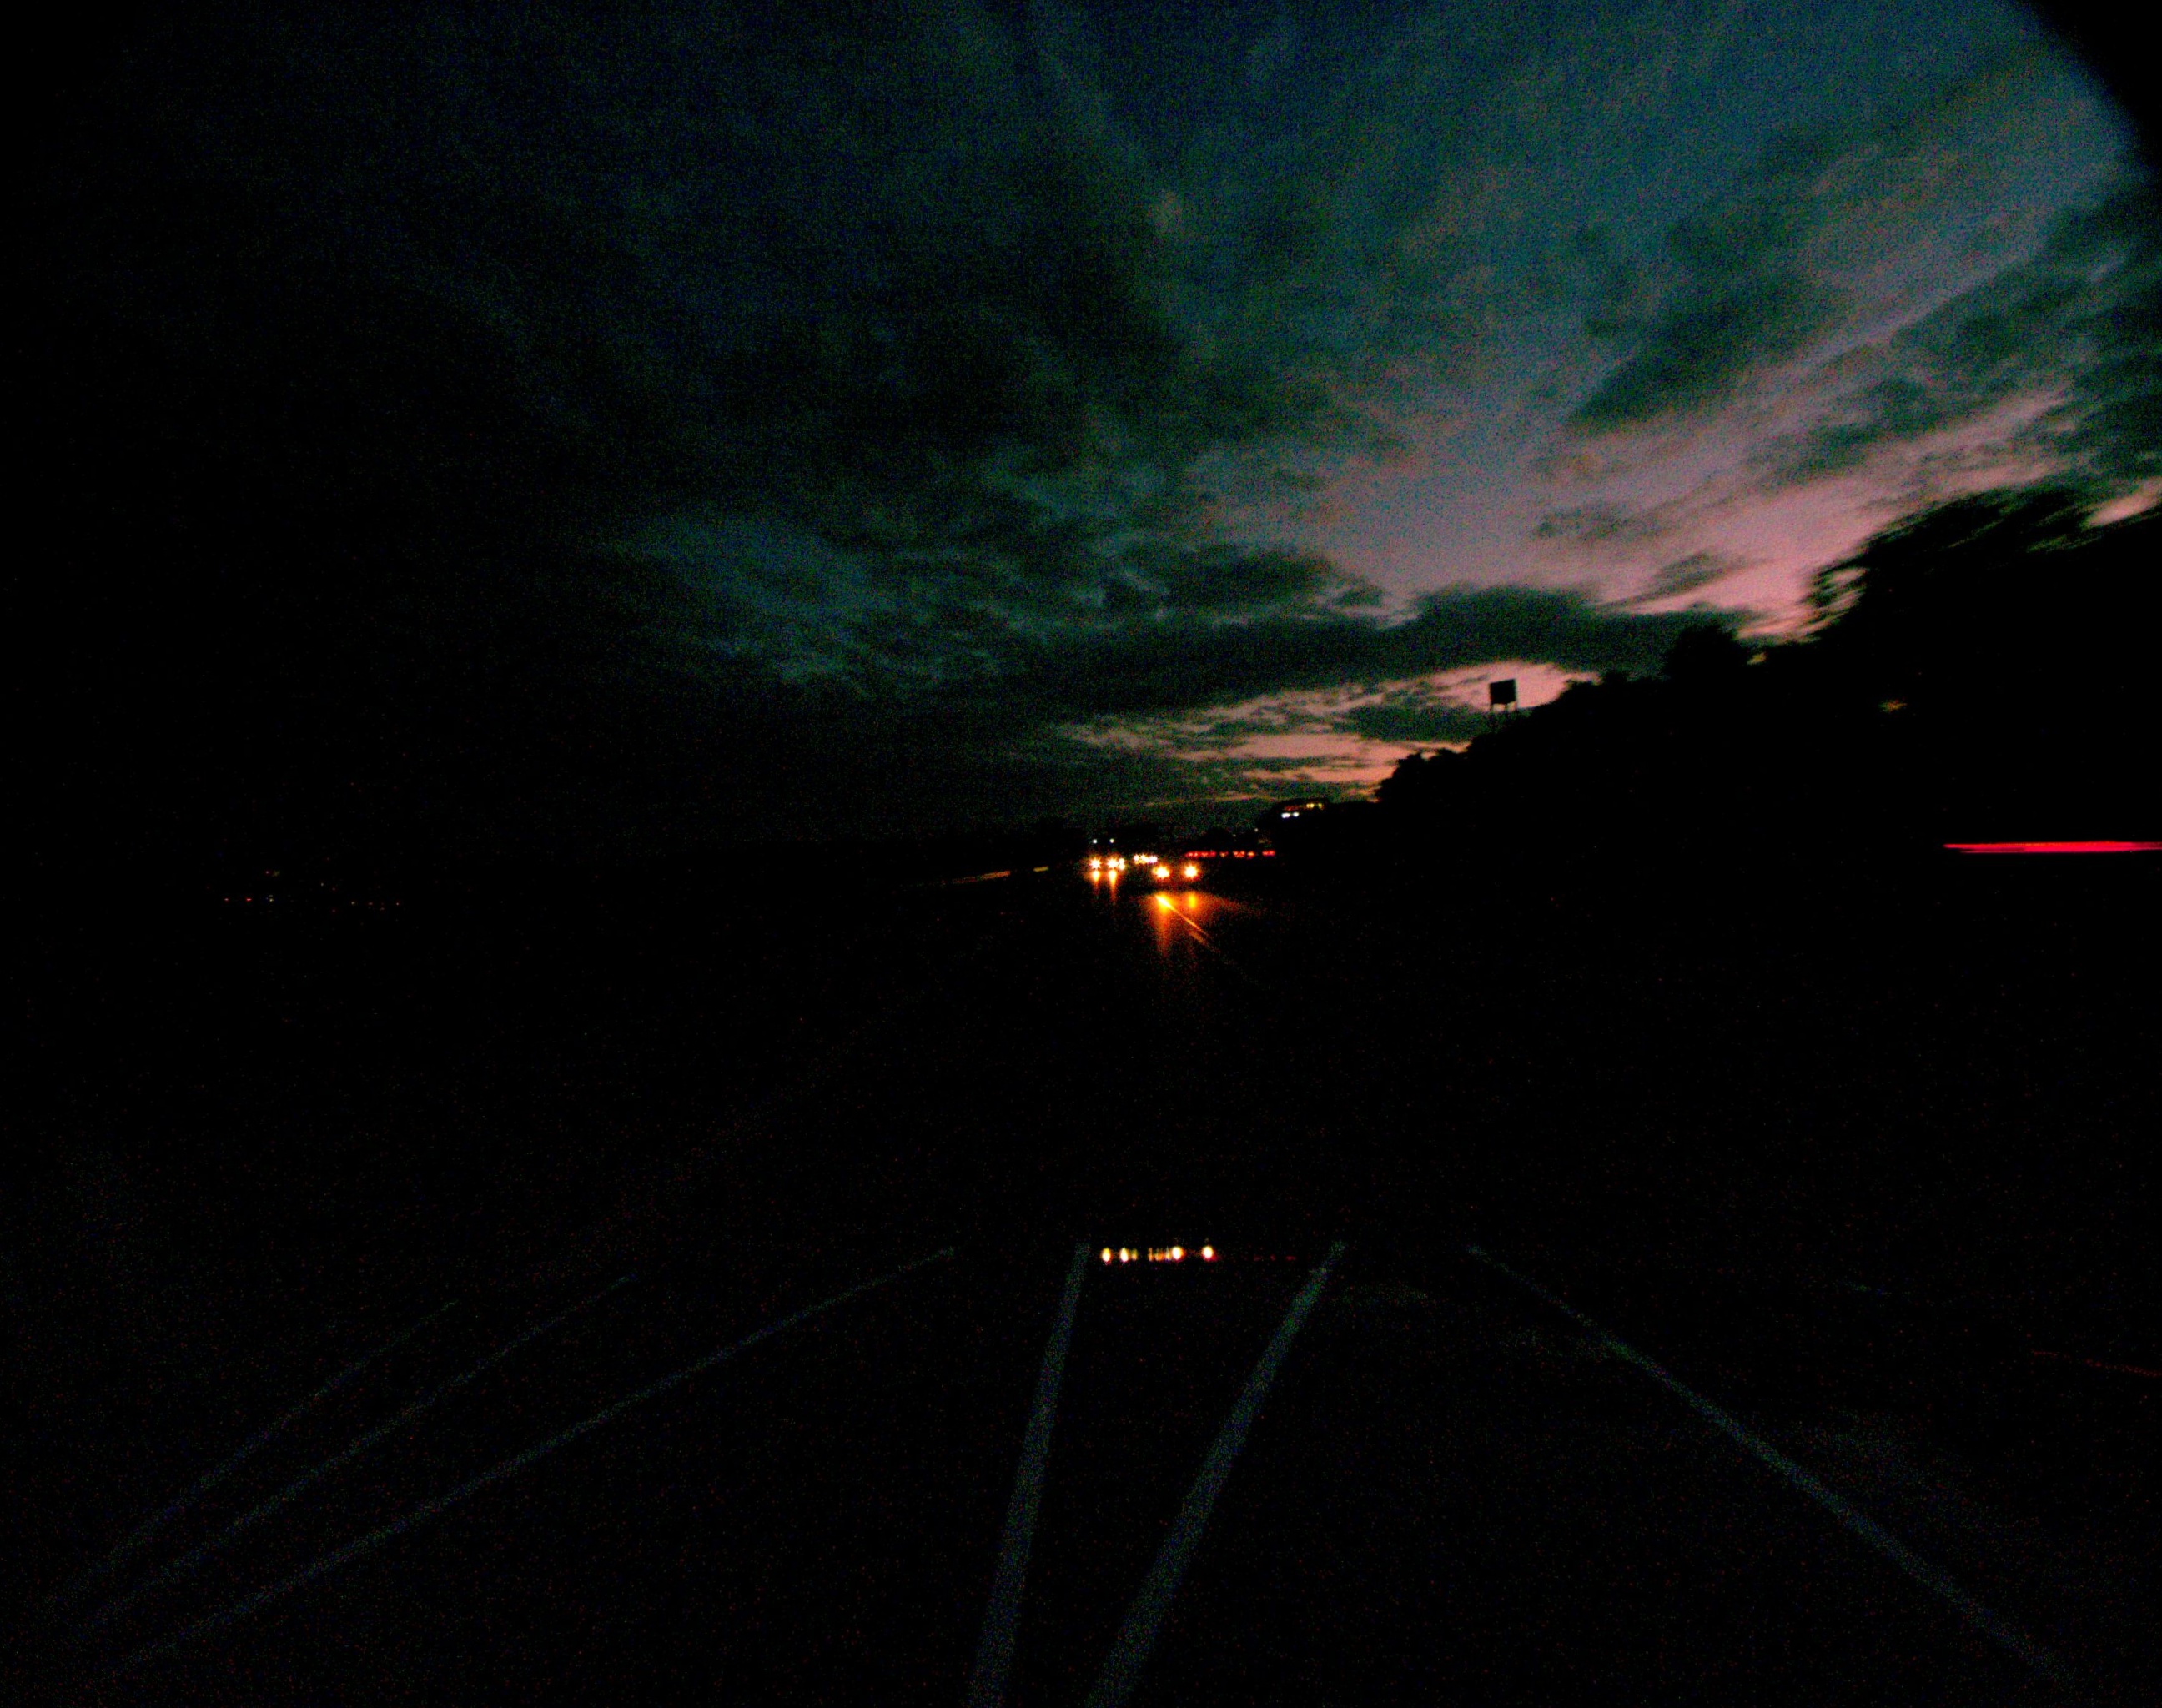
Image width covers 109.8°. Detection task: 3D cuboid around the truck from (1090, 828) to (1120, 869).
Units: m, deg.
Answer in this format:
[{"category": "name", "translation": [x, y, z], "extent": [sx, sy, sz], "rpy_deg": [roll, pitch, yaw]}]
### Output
[{"category": "truck", "translation": [2.824, -0.663, 87.784], "extent": [3.026, 4.372, 11.616], "rpy_deg": [-3, 1, 2]}]

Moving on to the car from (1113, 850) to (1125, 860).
[{"category": "car", "translation": [6.879, 0.218, 138.047], "extent": [1.998, 1.715, 4.001], "rpy_deg": [-3, 1, 5]}]

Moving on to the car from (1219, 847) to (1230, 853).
[{"category": "car", "translation": [35.513, -1.043, 187.716], "extent": [1.998, 1.393, 5.024], "rpy_deg": [-3, 1, 3]}]

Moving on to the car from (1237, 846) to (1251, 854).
[{"category": "car", "translation": [32.316, -0.882, 150.528], "extent": [1.998, 1.451, 4.237], "rpy_deg": [-3, 1, 3]}]

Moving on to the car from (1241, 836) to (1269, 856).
[{"category": "car", "translation": [23.387, -1.086, 102.552], "extent": [2.331, 2.417, 7.095], "rpy_deg": [-3, 1, 3]}]

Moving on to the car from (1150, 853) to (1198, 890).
[{"category": "car", "translation": [4.170, 0.759, 34.652], "extent": [1.717, 1.471, 4.000], "rpy_deg": [-3, 1, 1]}]

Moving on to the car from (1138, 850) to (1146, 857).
[{"category": "car", "translation": [14.356, -0.104, 179.063], "extent": [1.652, 1.654, 3.776], "rpy_deg": [-3, 1, 5]}]

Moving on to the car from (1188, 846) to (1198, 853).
[{"category": "car", "translation": [27.959, -1.082, 189.315], "extent": [1.998, 1.725, 5.051], "rpy_deg": [-3, 1, 3]}]

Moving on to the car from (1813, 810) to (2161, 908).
[{"category": "car", "translation": [19.493, 0.074, 16.790], "extent": [1.998, 1.780, 4.840], "rpy_deg": [-3, 1, 1]}]

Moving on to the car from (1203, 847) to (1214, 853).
[{"category": "car", "translation": [29.642, -0.941, 176.412], "extent": [1.998, 1.496, 4.559], "rpy_deg": [-3, 1, 3]}]

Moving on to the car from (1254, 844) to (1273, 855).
[{"category": "car", "translation": [28.468, -0.733, 118.628], "extent": [1.998, 1.683, 4.970], "rpy_deg": [-3, 1, 3]}]

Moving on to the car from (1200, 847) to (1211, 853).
[{"category": "car", "translation": [31.691, -1.077, 193.513], "extent": [1.998, 1.464, 5.024], "rpy_deg": [-3, 1, 3]}]
